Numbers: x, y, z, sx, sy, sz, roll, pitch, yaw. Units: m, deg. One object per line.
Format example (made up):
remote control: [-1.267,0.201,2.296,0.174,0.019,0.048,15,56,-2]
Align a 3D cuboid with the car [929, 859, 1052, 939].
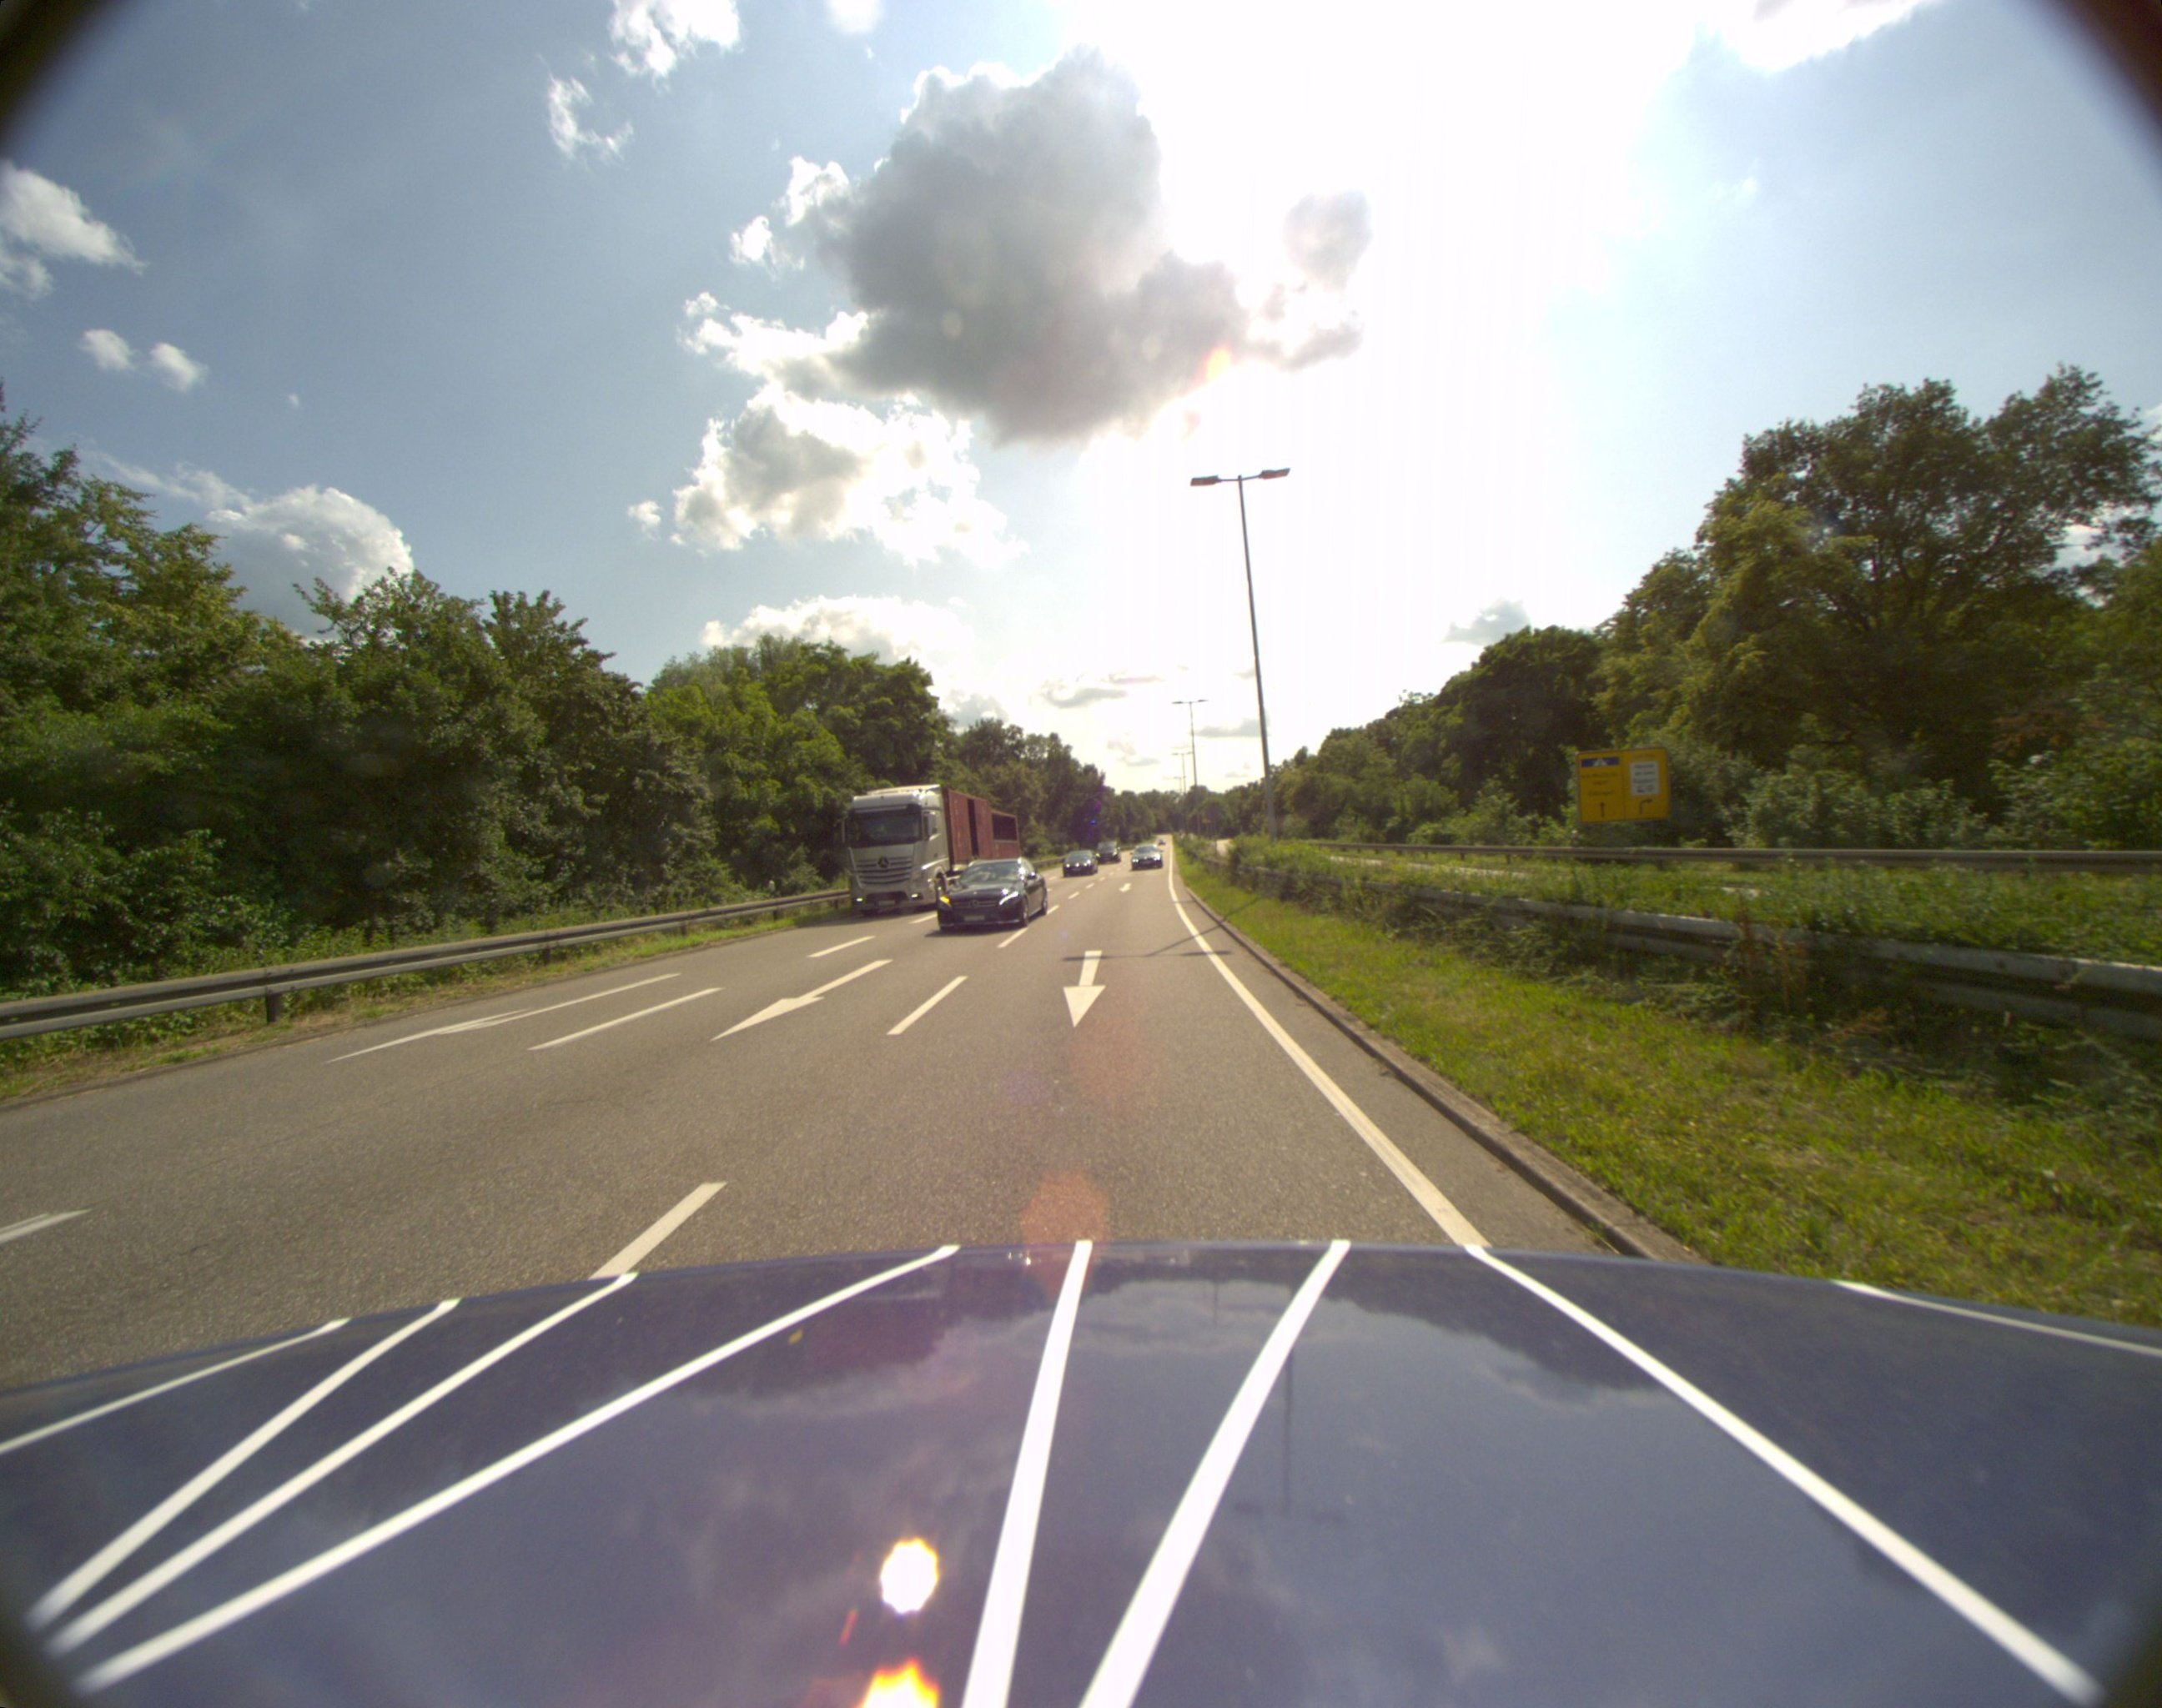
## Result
car: [-1.869,0.897,17.139,1.794,1.427,4.371,-3,0,6]

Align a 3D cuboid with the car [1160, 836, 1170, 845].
car: [20.894,-3.319,188.508,1.976,2.002,3.999,-2,1,2]

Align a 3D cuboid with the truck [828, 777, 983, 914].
truck: [-5.594,-0.250,25.600,2.775,3.822,6.822,-4,0,6]

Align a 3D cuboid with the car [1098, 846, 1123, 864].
car: [2.554,0.063,65.306,1.857,1.402,4.002,-3,0,6]

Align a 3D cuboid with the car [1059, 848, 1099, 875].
car: [-0.072,0.406,44.657,1.857,1.402,4.002,-3,0,6]

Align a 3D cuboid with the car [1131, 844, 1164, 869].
car: [4.037,0.146,46.269,1.857,1.354,4.001,-2,0,5]

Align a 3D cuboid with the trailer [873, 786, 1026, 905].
trailer: [-4.891,-0.318,31.790,2.777,3.827,12.326,-4,0,6]
